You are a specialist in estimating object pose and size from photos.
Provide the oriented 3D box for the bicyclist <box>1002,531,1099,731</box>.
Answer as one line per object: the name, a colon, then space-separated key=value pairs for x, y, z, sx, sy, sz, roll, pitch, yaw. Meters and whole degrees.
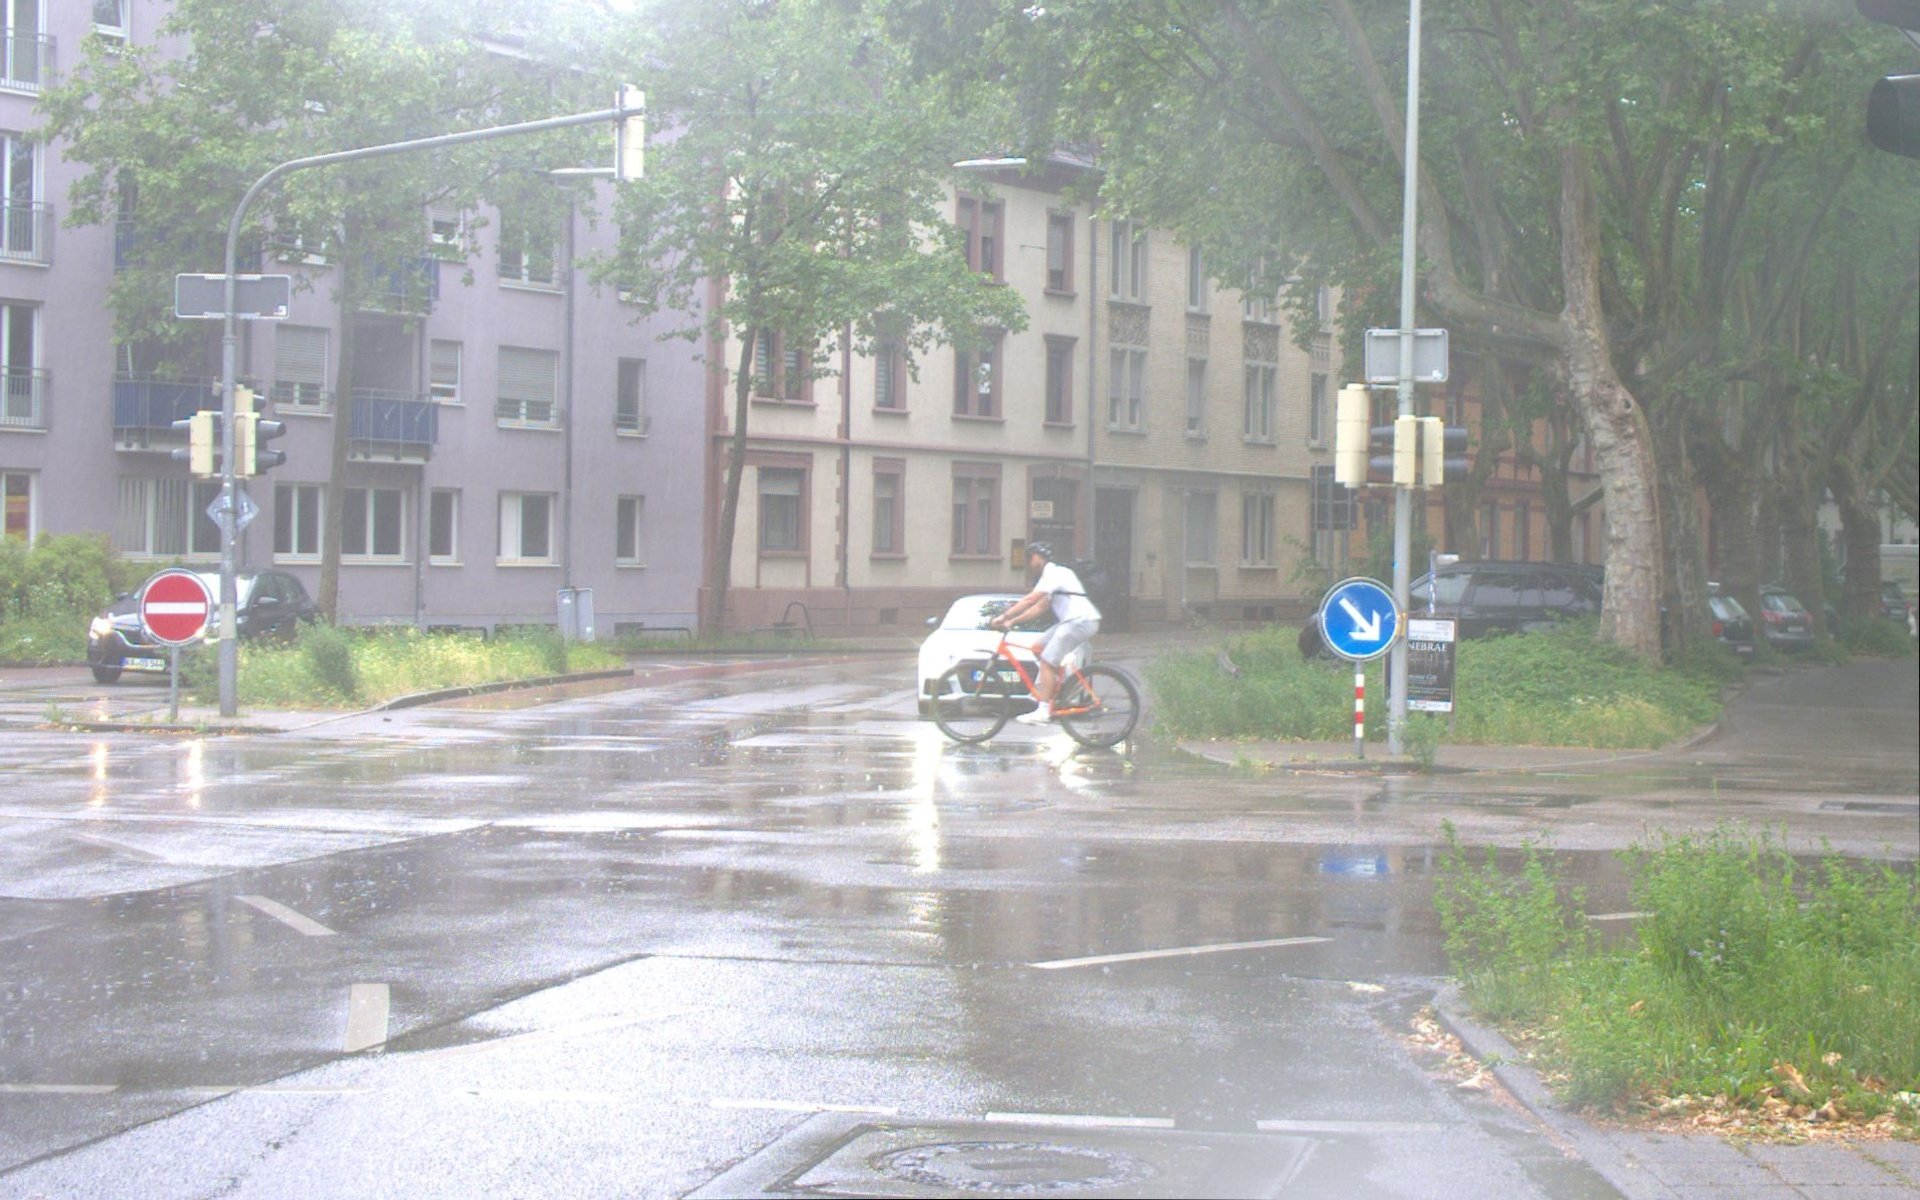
bicyclist: x=0.824 y=0.273 z=31.195 sx=0.795 sy=1.780 sz=0.697 roll=1 pitch=0 yaw=8

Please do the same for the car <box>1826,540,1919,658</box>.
car: x=24.377 y=-0.028 z=87.668 sx=2.033 sy=2.938 sz=4.773 roll=1 pitch=0 yaw=-21

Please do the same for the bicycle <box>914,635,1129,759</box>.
bicycle: x=0.566 y=0.875 z=31.246 sx=1.873 sy=1.077 sz=0.657 roll=1 pitch=0 yaw=8

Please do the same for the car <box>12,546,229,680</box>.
car: x=-10.058 y=0.125 z=41.445 sx=1.751 sy=1.506 sz=3.839 roll=1 pitch=1 yaw=-2

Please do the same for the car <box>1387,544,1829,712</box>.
car: x=6.152 y=0.247 z=32.629 sx=3.989 sy=1.481 sz=1.999 roll=1 pitch=0 yaw=12

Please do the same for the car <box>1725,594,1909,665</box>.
car: x=19.558 y=0.655 z=78.603 sx=3.989 sy=1.542 sz=1.999 roll=1 pitch=0 yaw=12

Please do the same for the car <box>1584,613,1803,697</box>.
car: x=13.932 y=1.031 z=65.333 sx=3.989 sy=1.481 sz=1.999 roll=1 pitch=0 yaw=12

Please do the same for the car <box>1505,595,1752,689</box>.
car: x=11.242 y=0.687 z=57.755 sx=3.989 sy=1.481 sz=1.999 roll=1 pitch=0 yaw=12

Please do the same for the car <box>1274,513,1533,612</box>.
car: x=6.944 y=-0.586 z=53.733 sx=3.868 sy=1.481 sz=1.715 roll=1 pitch=0 yaw=12

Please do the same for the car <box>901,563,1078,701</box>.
car: x=0.366 y=0.322 z=39.089 sx=1.884 sy=1.431 sz=4.000 roll=1 pitch=1 yaw=1
